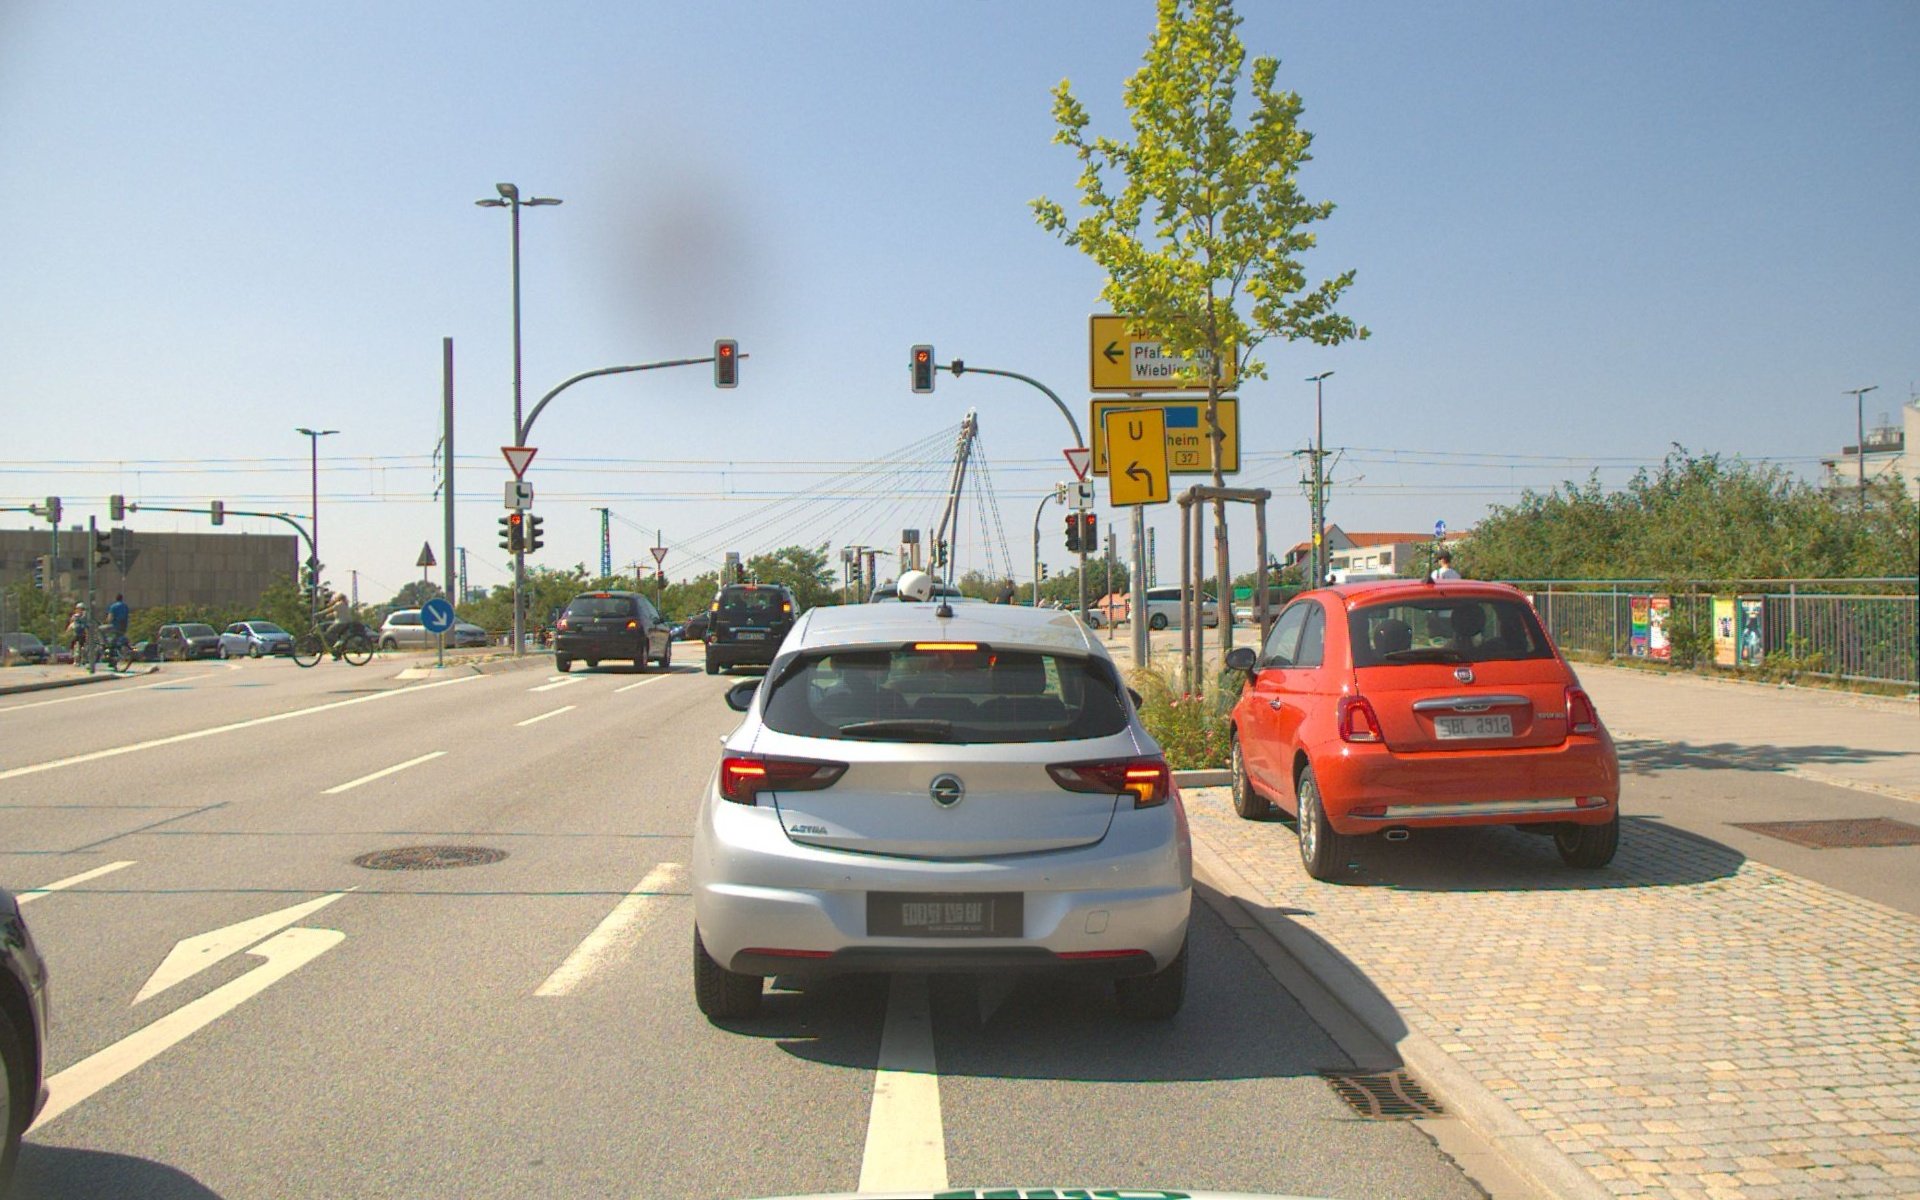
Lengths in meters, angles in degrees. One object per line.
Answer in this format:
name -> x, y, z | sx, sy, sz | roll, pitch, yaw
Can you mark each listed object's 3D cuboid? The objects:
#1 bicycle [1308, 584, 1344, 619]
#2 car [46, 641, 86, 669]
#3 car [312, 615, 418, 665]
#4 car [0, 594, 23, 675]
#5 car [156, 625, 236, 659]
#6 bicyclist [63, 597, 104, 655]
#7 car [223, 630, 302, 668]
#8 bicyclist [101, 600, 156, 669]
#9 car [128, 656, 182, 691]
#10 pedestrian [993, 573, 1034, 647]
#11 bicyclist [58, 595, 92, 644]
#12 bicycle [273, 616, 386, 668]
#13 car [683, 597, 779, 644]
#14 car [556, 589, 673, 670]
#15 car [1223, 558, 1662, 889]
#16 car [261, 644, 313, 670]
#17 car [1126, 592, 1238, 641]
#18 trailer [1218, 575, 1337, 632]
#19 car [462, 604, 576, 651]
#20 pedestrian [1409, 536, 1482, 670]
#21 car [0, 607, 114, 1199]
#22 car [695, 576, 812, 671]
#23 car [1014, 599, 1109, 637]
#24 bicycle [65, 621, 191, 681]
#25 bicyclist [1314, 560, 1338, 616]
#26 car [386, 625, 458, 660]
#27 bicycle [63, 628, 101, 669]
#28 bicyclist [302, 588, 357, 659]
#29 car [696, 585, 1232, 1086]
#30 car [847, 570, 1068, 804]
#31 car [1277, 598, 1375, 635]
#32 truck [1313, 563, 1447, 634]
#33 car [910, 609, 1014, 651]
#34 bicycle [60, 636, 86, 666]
bicycle -> 12.702, 0.042, 57.369 | 0.544, 1.198, 2.082 | 0, 0, 32
car -> -51.529, 3.175, 95.317 | 1.664, 1.481, 3.952 | 2, -1, -34
car -> -25.408, 1.686, 70.651 | 3.906, 2.049, 1.999 | 0, -1, 23
car -> -25.590, 0.853, 43.351 | 1.653, 2.049, 3.957 | 2, -1, -31
car -> -36.219, 1.995, 78.376 | 4.410, 1.481, 1.986 | 0, -1, 44
bicyclist -> -23.314, 0.685, 43.995 | 0.828, 1.528, 0.655 | 2, -1, -20
car -> -28.306, 1.969, 67.150 | 3.091, 1.464, 1.580 | 1, -1, 36
bicyclist -> -19.387, 0.805, 38.591 | 0.805, 1.587, 0.863 | 1, -1, 0
car -> -50.825, 4.633, 104.443 | 1.984, 2.049, 3.937 | 2, -1, -43
pedestrian -> 1.375, 0.254, 42.761 | 0.741, 1.896, 0.737 | 0, -1, 45
bicyclist -> -22.083, 0.490, 41.267 | 0.720, 1.196, 0.653 | 2, -1, -28
bicycle -> -14.487, 0.966, 38.049 | 2.310, 1.147, 0.677 | 1, -1, -2
car -> -8.666, 0.774, 62.810 | 3.437, 1.669, 1.799 | 1, -1, -3
car -> -6.389, 0.544, 30.850 | 1.555, 1.419, 3.338 | 0, -1, -1
car -> 2.672, 0.561, 10.062 | 1.635, 1.566, 3.918 | -2, 1, 2
car -> -37.184, 3.128, 91.371 | 1.513, 1.327, 3.169 | 2, -1, -45
car -> 8.607, 0.644, 64.335 | 3.915, 1.815, 1.995 | 1, -1, -10
trailer -> 11.899, 0.146, 62.048 | 3.921, 2.049, 1.992 | 1, -1, -16
car -> -16.342, 1.017, 61.415 | 3.740, 1.657, 1.855 | 1, -1, -3
pedestrian -> 6.962, 0.048, 23.746 | 0.743, 1.862, 0.884 | 1, -1, -1
car -> -2.906, 0.699, 2.037 | 1.671, 1.437, 3.999 | 1, -1, -1
car -> -3.796, 0.436, 30.958 | 1.767, 1.650, 3.915 | 0, -1, -1
car -> 4.748, 0.840, 77.605 | 4.122, 1.674, 1.828 | 1, -1, -12
bicycle -> -19.397, 1.179, 38.575 | 2.472, 1.153, 0.729 | -5, 2, 1
bicyclist -> 12.676, -0.413, 57.321 | 0.623, 1.920, 0.594 | -1, 0, 33
car -> -20.030, 1.562, 61.584 | 2.430, 1.262, 1.277 | 0, -1, 30
bicycle -> -23.331, 1.264, 43.963 | 0.595, 1.025, 2.496 | 0, 0, -21
bicyclist -> -14.493, 0.537, 38.051 | 0.926, 1.596, 0.822 | 1, -1, -2
car -> -0.035, 0.737, 7.275 | 1.656, 1.546, 4.269 | 0, 0, -1
car -> -0.063, 0.671, 14.161 | 1.602, 1.703, 3.744 | 1, -1, -2
car -> 17.410, 0.777, 78.719 | 4.180, 1.703, 1.990 | 1, -1, -18
truck -> 16.050, -0.039, 63.277 | 4.618, 2.585, 1.991 | 1, -1, -17
car -> 0.048, 1.072, 59.963 | 3.699, 1.414, 1.665 | 1, -1, -3
bicycle -> -22.099, 1.265, 41.208 | 0.508, 0.704, 2.233 | 0, 0, -27
